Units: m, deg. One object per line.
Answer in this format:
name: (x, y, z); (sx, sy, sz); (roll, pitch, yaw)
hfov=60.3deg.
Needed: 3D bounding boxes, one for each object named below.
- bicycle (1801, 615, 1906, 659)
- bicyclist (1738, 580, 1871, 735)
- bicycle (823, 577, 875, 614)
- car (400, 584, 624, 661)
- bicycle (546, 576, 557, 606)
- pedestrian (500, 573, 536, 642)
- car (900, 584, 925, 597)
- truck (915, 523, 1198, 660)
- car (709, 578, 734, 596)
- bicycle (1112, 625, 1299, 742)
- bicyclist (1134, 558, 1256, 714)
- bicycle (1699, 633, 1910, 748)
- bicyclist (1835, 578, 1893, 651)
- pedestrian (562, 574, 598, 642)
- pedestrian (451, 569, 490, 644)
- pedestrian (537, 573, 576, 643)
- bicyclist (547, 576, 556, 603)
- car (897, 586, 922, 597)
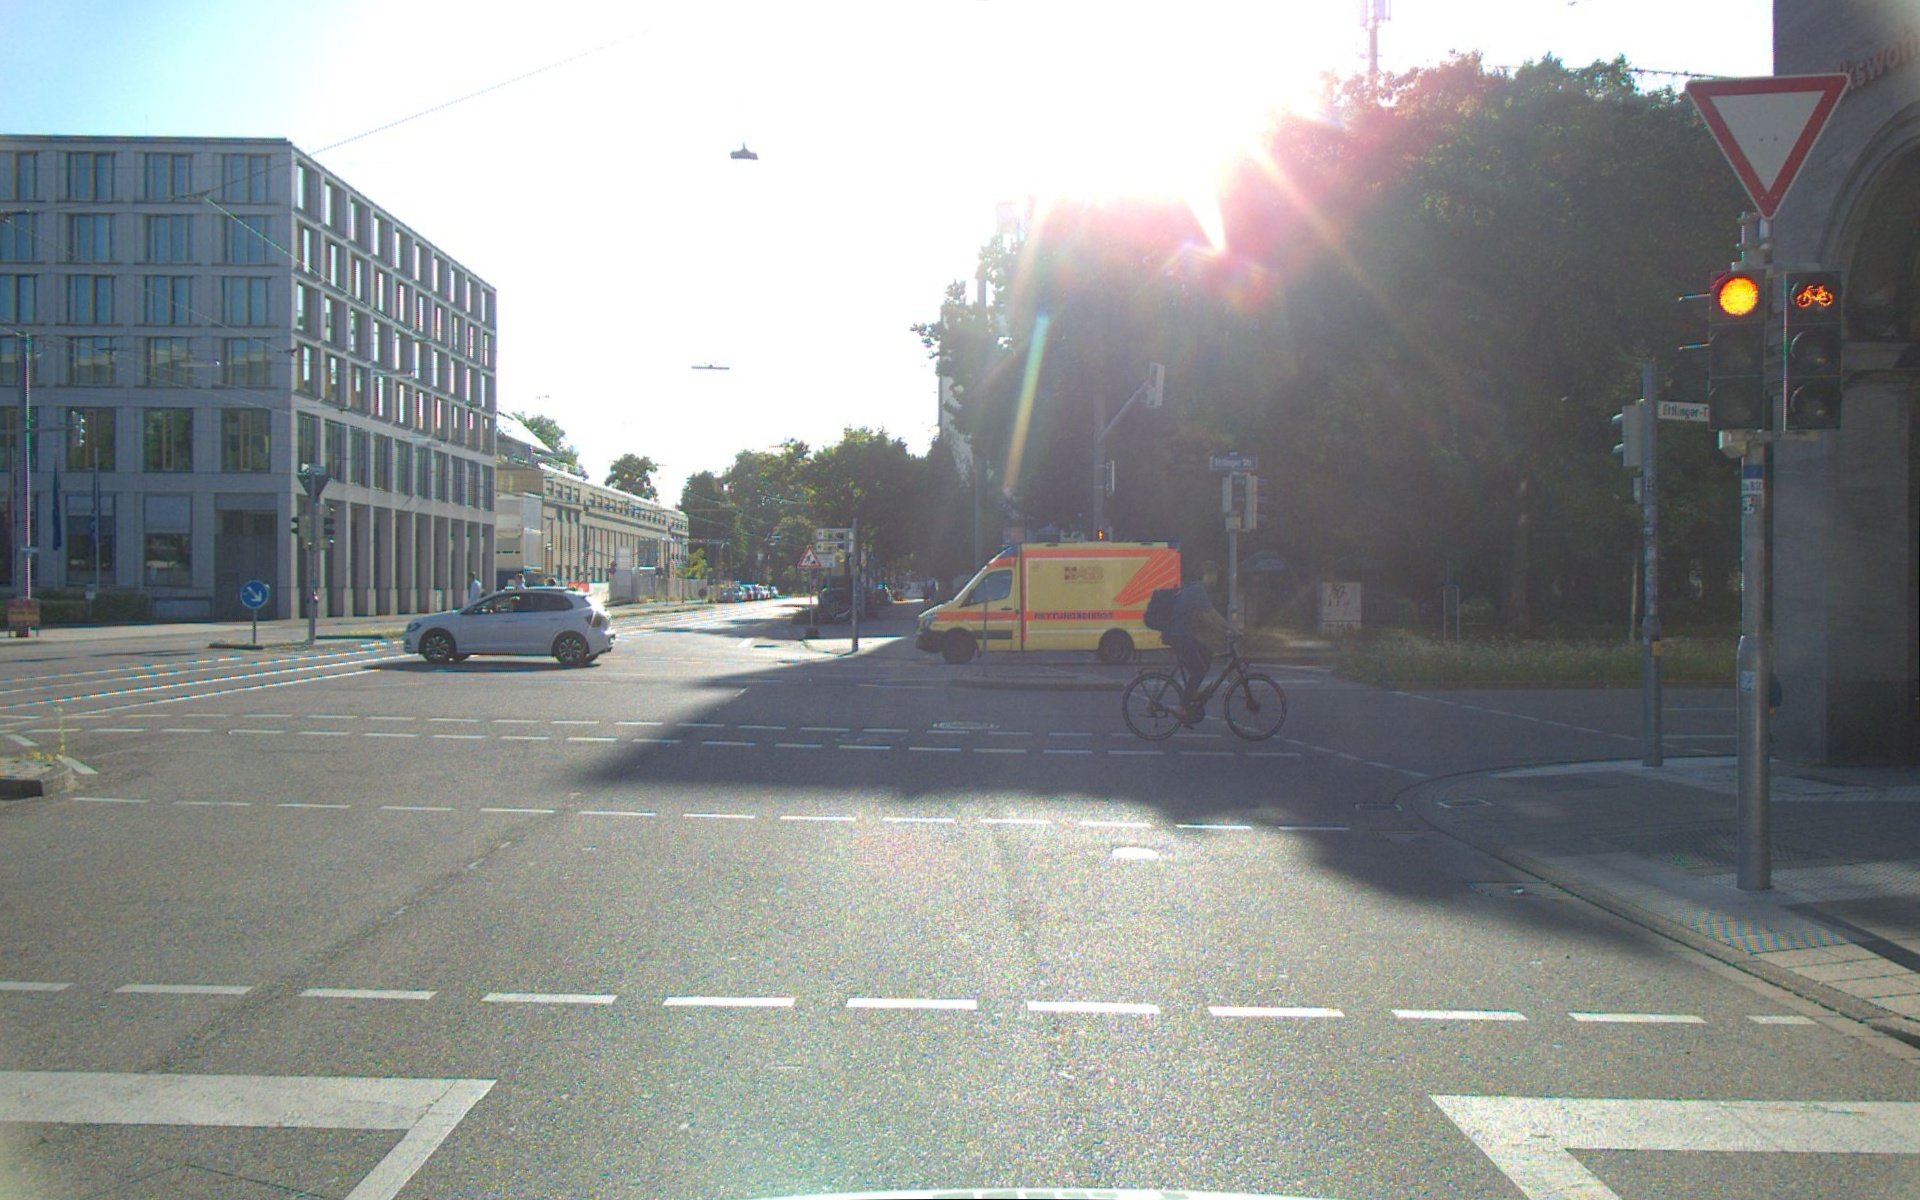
bicycle: (19.728, 0.810, 36.527); (2.023, 0.949, 0.574); (0, 0, -1)
bicyclist: (8.674, 0.576, 17.021); (0.981, 1.538, 0.767); (0, 2, 3)
bicycle: (-5.444, -0.211, 81.295); (2.495, 1.774, 1.037); (1, 0, -1)
car: (-8.699, 0.445, 32.384); (3.962, 1.459, 1.631); (0, -1, -3)
bicycle: (-32.050, -0.712, 129.773); (0.559, 2.336, 1.422); (0, 0, -2)
pedestrian: (-11.976, 0.205, 44.809); (0.723, 1.835, 0.716); (0, 0, 4)
car: (-6.117, -1.166, 213.364); (3.152, 1.616, 1.445); (1, 0, -5)
truck: (2.213, -0.191, 38.451); (6.333, 3.068, 2.726); (0, 0, 2)
car: (-22.528, -1.211, 156.192); (1.856, 1.635, 4.498); (0, 0, -3)
bicycle: (2.615, 0.872, 17.720); (1.839, 1.178, 0.765); (0, 2, -10)
bicyclist: (2.497, 0.366, 17.691); (1.103, 1.622, 0.765); (0, 2, -10)
bicycle: (8.668, 0.921, 17.032); (1.775, 1.104, 0.767); (0, 2, 3)
bicyclist: (19.963, 0.309, 36.544); (0.955, 1.587, 0.574); (0, 0, -1)
pedestrian: (-10.394, 0.219, 45.240); (0.851, 1.835, 0.532); (0, 0, 4)
pedestrian: (-12.839, 0.167, 43.402); (0.785, 1.951, 0.637); (0, 0, 4)
pedestrian: (-10.824, 0.213, 44.363); (0.852, 1.835, 0.664); (0, 0, 4)
bicyclist: (-32.047, -0.817, 129.682); (0.559, 2.059, 0.761); (0, 0, -2)
car: (-6.475, -1.066, 211.067); (3.152, 1.285, 1.373); (1, 0, -1)
